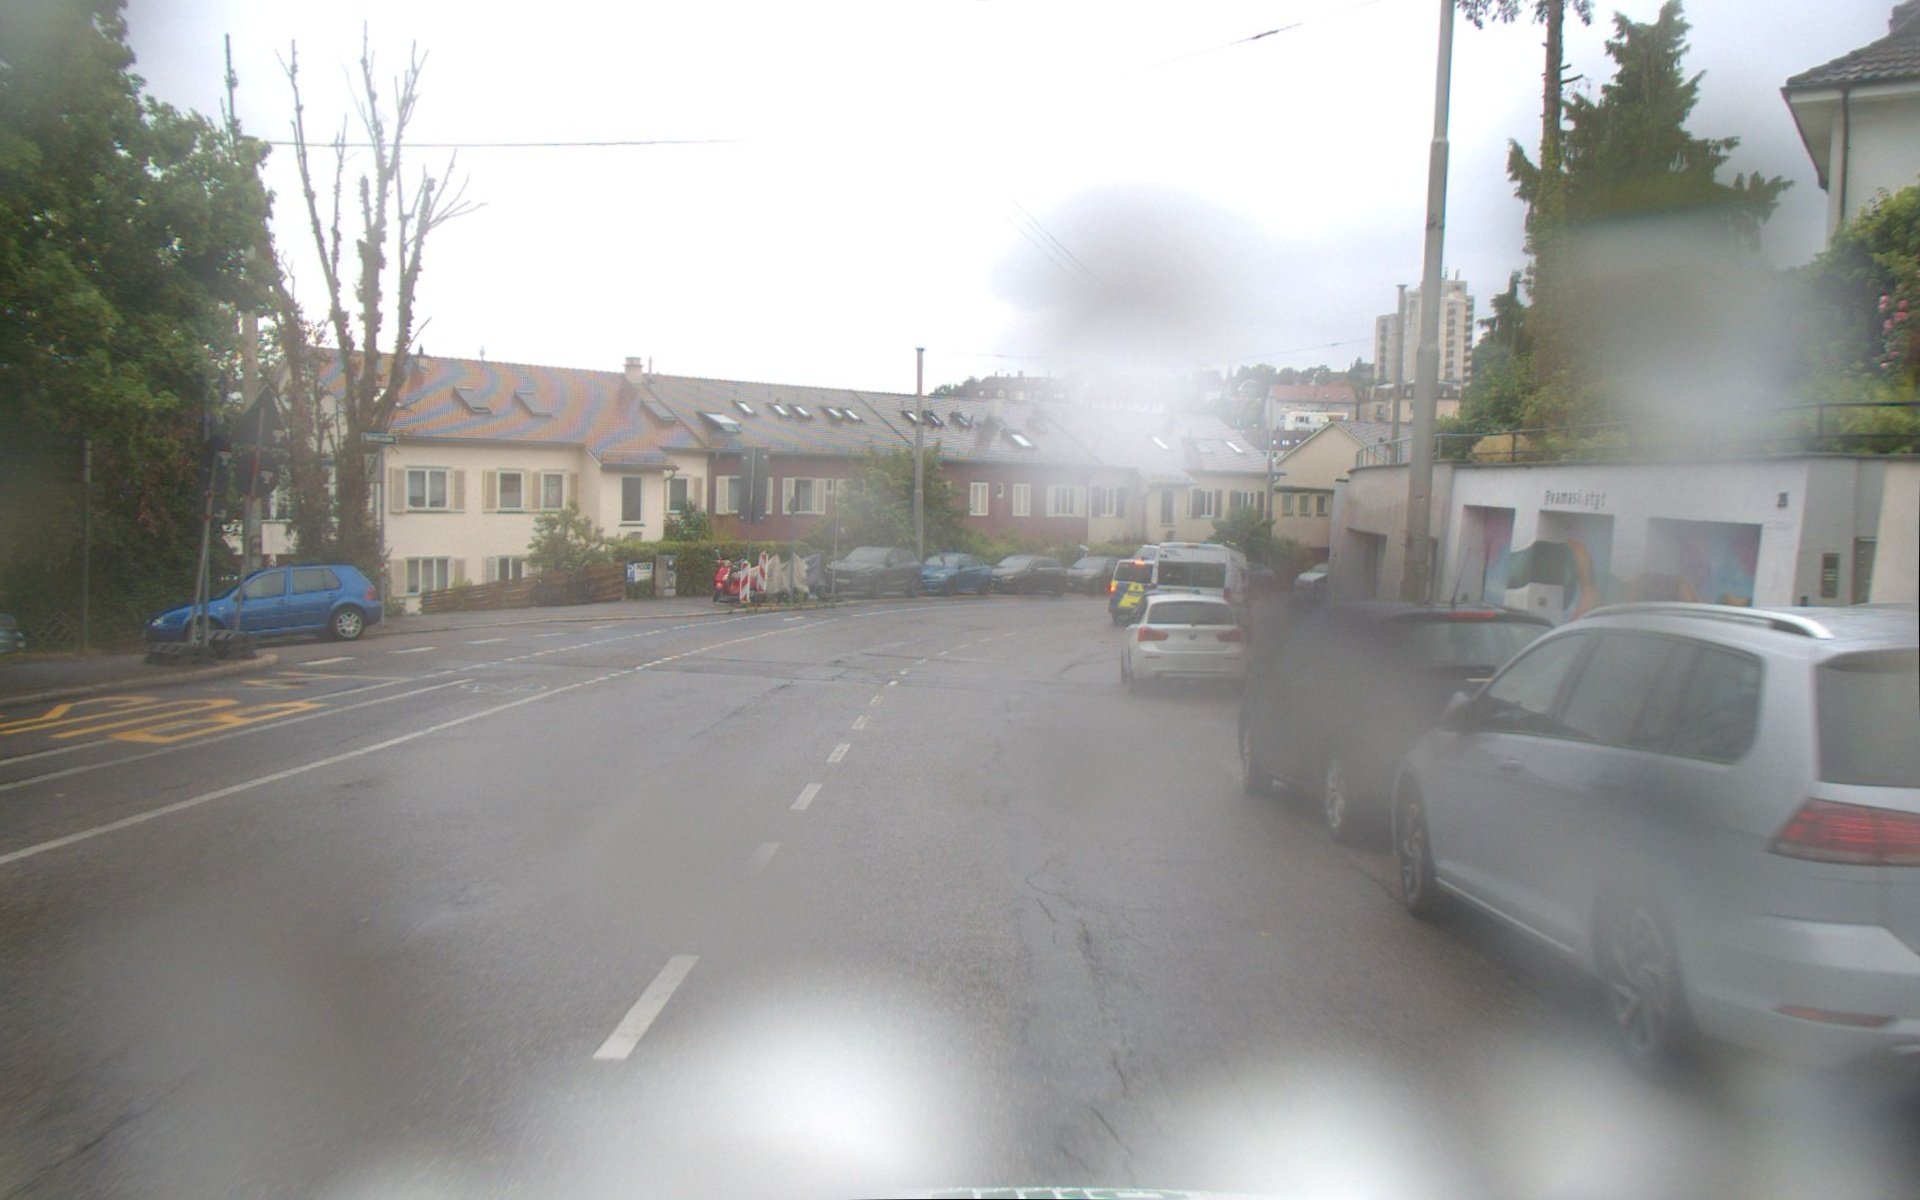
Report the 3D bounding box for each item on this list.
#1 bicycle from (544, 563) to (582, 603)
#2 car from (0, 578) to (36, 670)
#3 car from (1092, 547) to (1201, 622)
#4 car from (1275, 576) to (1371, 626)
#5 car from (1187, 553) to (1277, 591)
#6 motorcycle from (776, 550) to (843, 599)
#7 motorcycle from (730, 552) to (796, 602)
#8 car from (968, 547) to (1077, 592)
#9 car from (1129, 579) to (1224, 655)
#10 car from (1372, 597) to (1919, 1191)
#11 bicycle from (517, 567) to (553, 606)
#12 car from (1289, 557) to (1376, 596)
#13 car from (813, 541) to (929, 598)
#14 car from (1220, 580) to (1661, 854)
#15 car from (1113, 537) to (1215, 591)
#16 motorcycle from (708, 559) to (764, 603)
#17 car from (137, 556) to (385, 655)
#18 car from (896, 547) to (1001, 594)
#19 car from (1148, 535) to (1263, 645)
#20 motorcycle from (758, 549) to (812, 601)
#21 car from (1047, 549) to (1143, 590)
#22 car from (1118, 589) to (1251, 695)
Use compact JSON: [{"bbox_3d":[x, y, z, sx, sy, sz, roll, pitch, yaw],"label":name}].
[{"bbox_3d":[-11.076,-0.476,46.177,1.279,1.053,0.304,-2,-3,39],"label":"bicycle"},{"bbox_3d":[-17.981,0.372,27.752,4.005,1.520,1.833,1,1,-18],"label":"car"},{"bbox_3d":[5.841,-0.540,51.321,2.262,1.972,4.326,6,4,20],"label":"car"},{"bbox_3d":[12.386,0.037,56.314,1.650,1.508,4.187,6,3,34],"label":"car"},{"bbox_3d":[12.547,-1.279,76.170,1.784,1.501,4.491,7,4,44],"label":"car"},{"bbox_3d":[-4.469,-0.762,49.134,1.865,1.292,0.574,3,3,-10],"label":"motorcycle"},{"bbox_3d":[-5.577,-0.668,46.799,1.765,1.301,0.511,4,3,22],"label":"motorcycle"},{"bbox_3d":[2.393,-1.138,62.379,1.780,1.501,4.503,6,4,37],"label":"car"},{"bbox_3d":[4.924,0.339,37.188,1.716,1.521,4.188,2,2,13],"label":"car"},{"bbox_3d":[2.995,0.724,6.306,1.745,1.445,4.430,0,0,0],"label":"car"},{"bbox_3d":[-12.099,-0.382,47.113,1.304,1.053,0.303,-2,-4,41],"label":"bicycle"},{"bbox_3d":[18.462,-1.144,81.849,4.643,1.658,1.905,1,4,-45],"label":"car"},{"bbox_3d":[-2.785,-1.008,53.015,1.884,1.603,4.387,6,4,23],"label":"car"},{"bbox_3d":[3.039,0.645,11.356,1.680,1.539,3.998,1,1,-3],"label":"car"},{"bbox_3d":[8.886,-1.519,71.747,1.821,2.114,4.993,6,4,40],"label":"car"},{"bbox_3d":[-6.108,-0.545,45.187,0.500,1.159,1.919,1,2,28],"label":"motorcycle"},{"bbox_3d":[-12.889,0.128,30.577,3.898,1.695,1.819,2,-1,-36],"label":"car"},{"bbox_3d":[-0.361,-1.063,57.695,1.667,1.428,4.467,6,4,27],"label":"car"},{"bbox_3d":[6.396,-0.273,42.546,2.055,2.586,5.623,2,1,17],"label":"car"},{"bbox_3d":[-5.057,-0.727,47.727,0.607,1.325,1.783,1,4,-39],"label":"motorcycle"},{"bbox_3d":[5.509,-1.215,67.016,1.778,1.501,4.507,6,4,34],"label":"car"},{"bbox_3d":[3.347,0.575,25.256,1.669,1.439,4.043,1,0,3],"label":"car"}]
